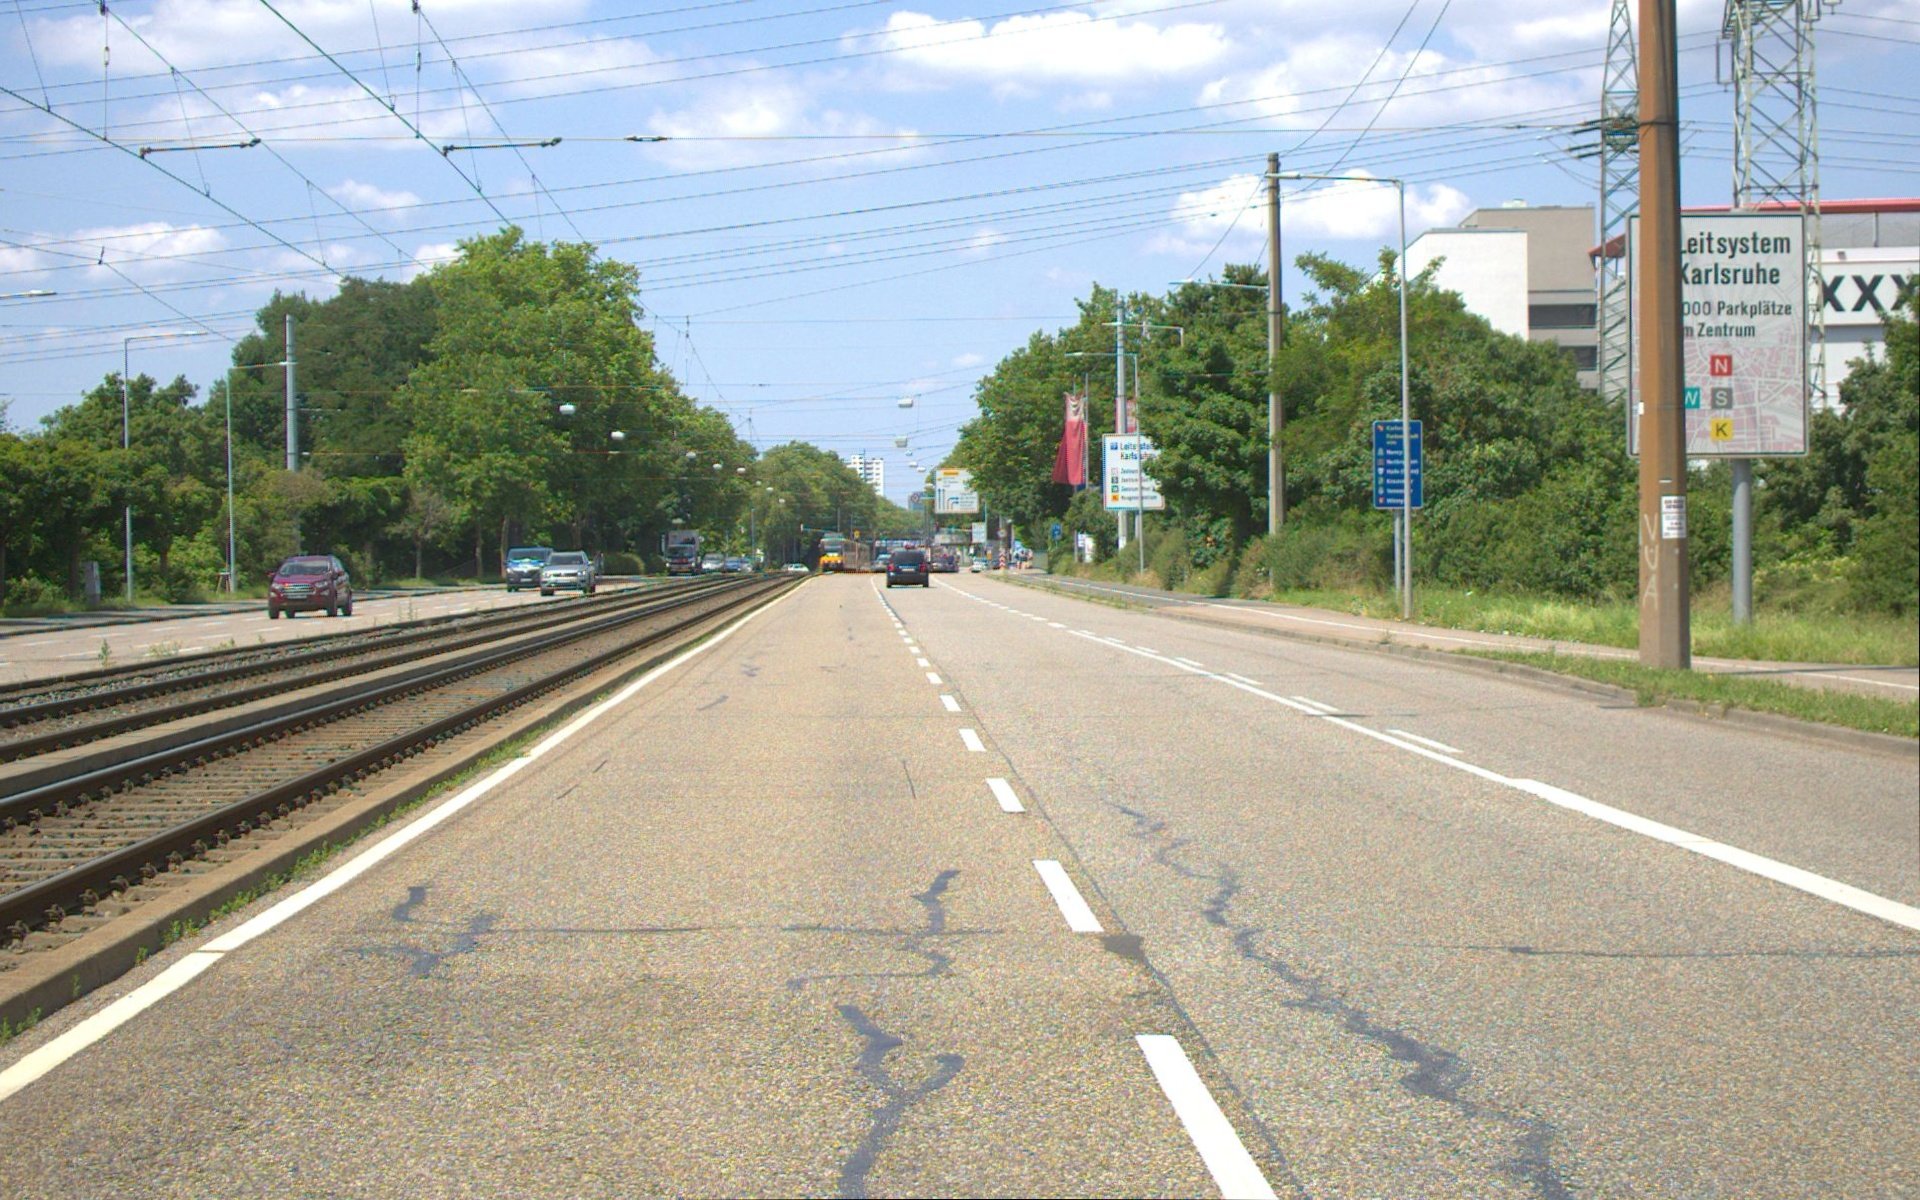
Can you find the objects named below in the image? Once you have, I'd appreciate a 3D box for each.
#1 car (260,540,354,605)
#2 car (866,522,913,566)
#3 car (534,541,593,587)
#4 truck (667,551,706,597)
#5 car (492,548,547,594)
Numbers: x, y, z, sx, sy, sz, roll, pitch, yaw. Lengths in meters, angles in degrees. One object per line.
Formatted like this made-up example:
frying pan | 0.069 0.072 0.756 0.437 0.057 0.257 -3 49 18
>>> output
car | -17.408 -0.762 91.776 1.801 1.619 4.212 -2 1 -2
car | -2.968 -2.329 144.061 1.899 1.799 3.977 1 0 -2
car | -14.883 -1.354 129.274 1.801 1.619 4.495 -2 1 -2
truck | -19.395 -1.865 244.039 2.249 3.225 6.042 -1 1 0
car | -19.587 -1.308 152.988 1.857 1.921 5.008 -2 1 -2
